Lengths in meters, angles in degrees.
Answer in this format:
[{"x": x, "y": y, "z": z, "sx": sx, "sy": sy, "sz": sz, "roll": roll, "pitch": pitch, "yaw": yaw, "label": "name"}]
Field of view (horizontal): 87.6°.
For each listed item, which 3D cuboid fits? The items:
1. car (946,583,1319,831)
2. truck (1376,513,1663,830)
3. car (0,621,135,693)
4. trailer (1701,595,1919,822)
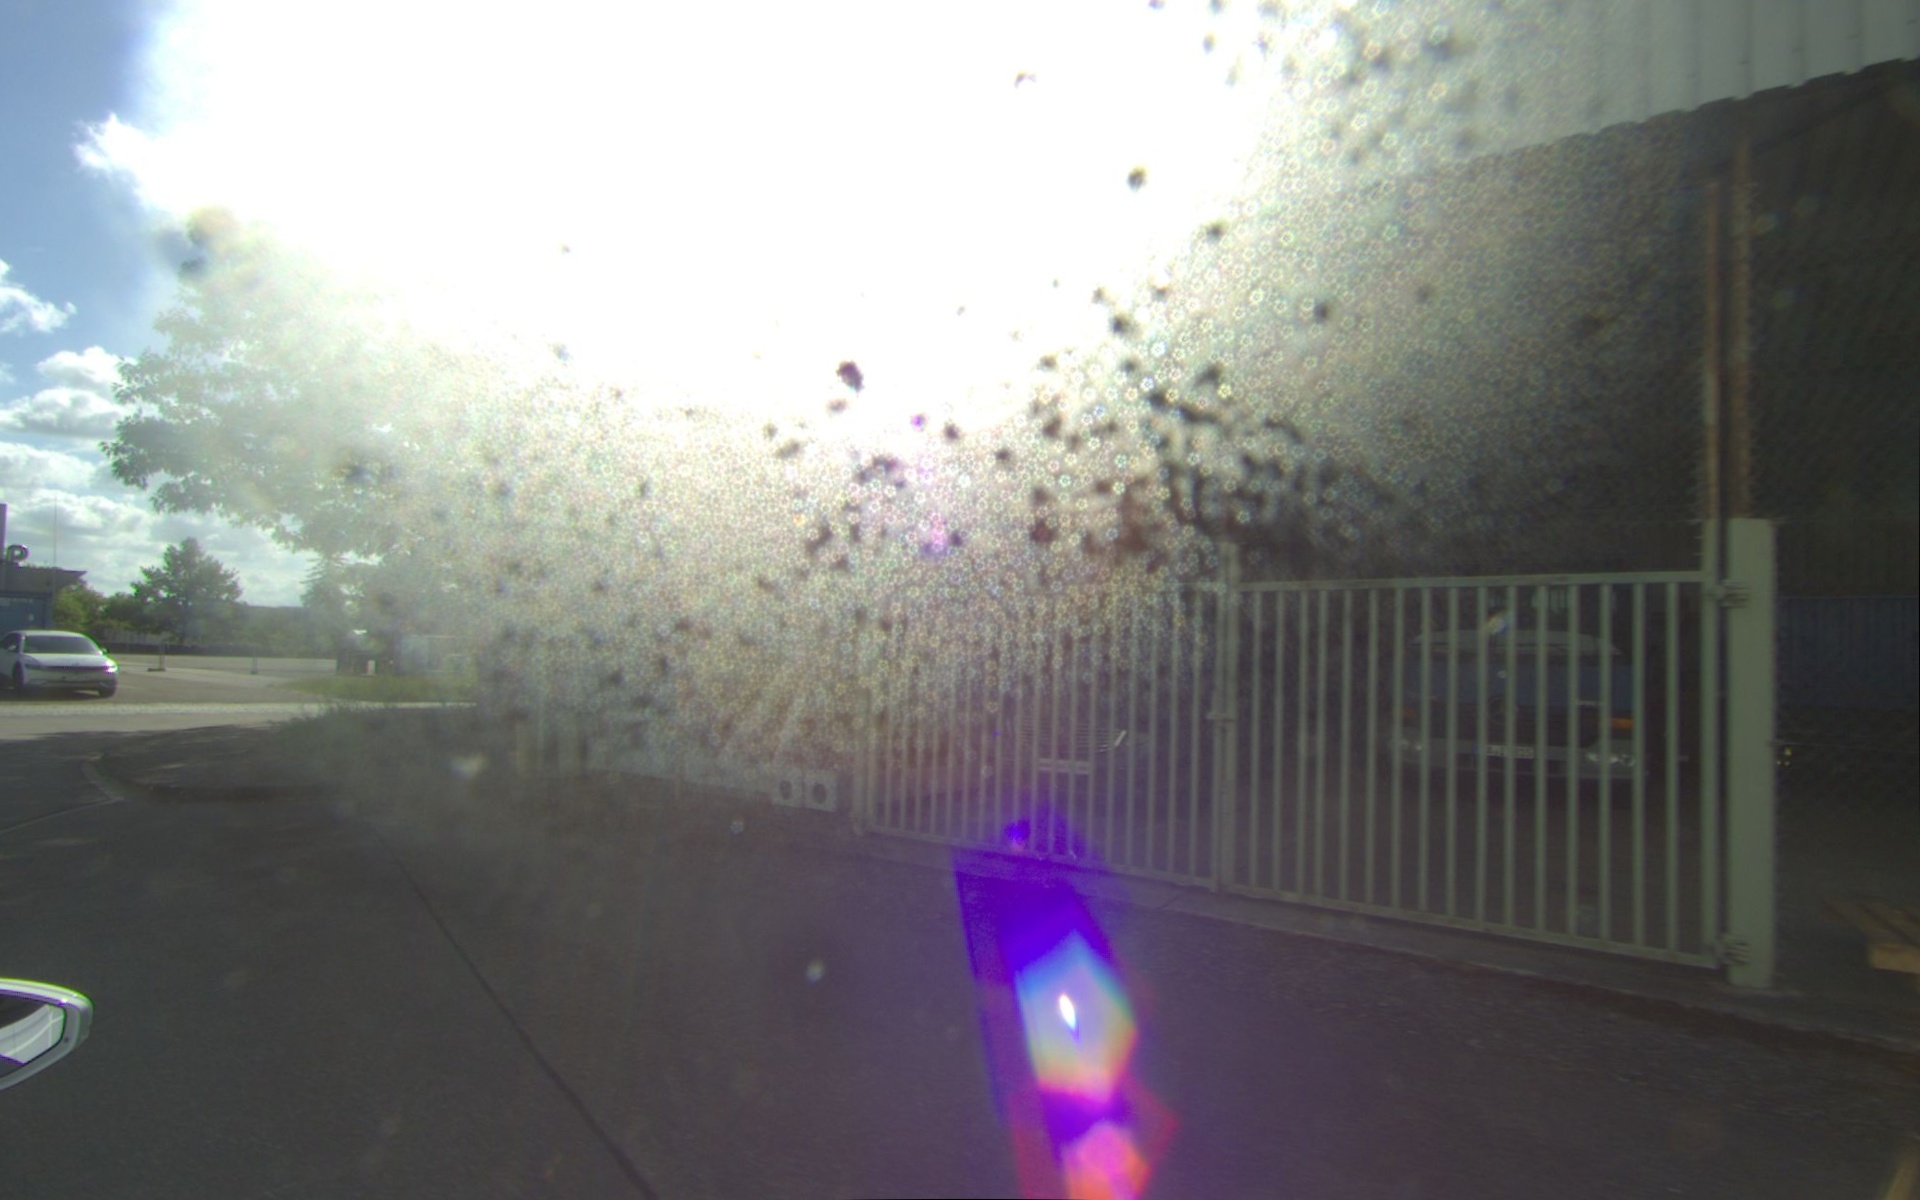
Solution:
[{"x": 2.156, "y": 1.032, "z": 10.671, "sx": 2.245, "sy": 1.941, "sz": 5.163, "roll": 0, "pitch": -4, "yaw": 30, "label": "car"}, {"x": 6.730, "y": 0.790, "z": 11.632, "sx": 2.334, "sy": 2.739, "sz": 5.554, "roll": 0, "pitch": -3, "yaw": 35, "label": "truck"}, {"x": -23.638, "y": 1.470, "z": 26.253, "sx": 4.282, "sy": 1.613, "sz": 1.977, "roll": 1, "pitch": -4, "yaw": 36, "label": "car"}, {"x": 9.829, "y": 1.138, "z": 11.200, "sx": 2.433, "sy": 2.164, "sz": 3.394, "roll": 0, "pitch": -3, "yaw": 38, "label": "trailer"}]
